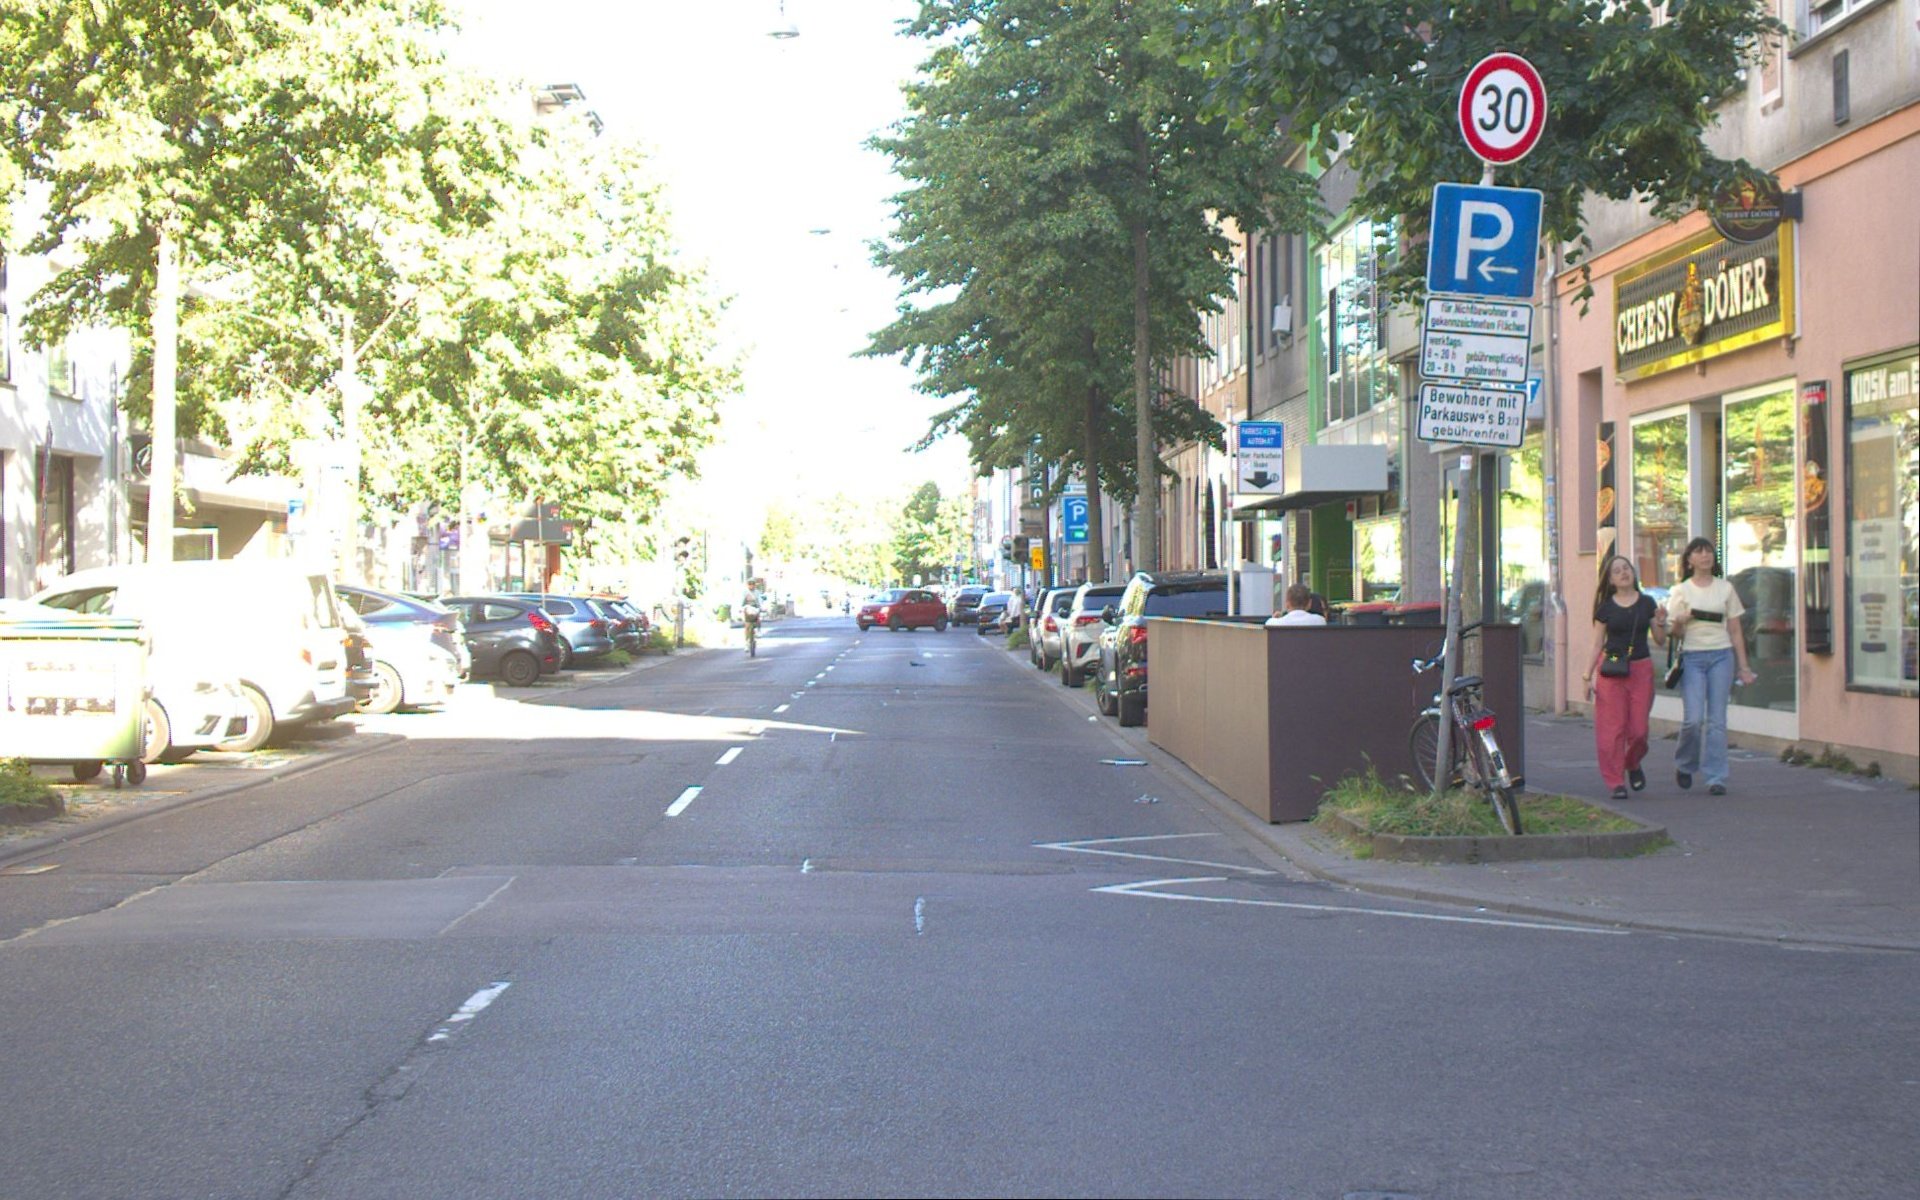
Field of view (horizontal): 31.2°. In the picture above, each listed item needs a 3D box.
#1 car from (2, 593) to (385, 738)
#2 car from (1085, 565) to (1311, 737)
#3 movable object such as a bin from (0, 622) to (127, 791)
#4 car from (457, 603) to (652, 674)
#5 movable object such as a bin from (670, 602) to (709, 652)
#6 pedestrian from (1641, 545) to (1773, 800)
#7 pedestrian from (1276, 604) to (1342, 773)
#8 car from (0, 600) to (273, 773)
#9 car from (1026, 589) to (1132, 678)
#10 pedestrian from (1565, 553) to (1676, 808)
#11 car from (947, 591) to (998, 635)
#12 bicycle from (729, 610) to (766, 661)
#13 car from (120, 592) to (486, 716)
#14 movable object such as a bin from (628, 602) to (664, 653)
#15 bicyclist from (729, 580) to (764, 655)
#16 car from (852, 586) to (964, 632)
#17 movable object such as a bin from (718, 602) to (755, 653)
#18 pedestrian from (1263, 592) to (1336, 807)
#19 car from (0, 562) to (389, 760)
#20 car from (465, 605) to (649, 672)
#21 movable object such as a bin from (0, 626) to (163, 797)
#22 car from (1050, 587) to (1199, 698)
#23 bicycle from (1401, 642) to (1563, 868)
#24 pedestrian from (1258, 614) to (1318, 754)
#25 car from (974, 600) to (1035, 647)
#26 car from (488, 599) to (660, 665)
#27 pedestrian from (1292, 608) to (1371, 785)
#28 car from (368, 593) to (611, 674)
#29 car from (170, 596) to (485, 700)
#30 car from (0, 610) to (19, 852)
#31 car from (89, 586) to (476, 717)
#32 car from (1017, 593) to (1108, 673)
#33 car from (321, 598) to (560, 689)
[{"bbox_3d":[-8.338,0.698,37.627,3.799,1.553,1.792,0,0,0],"label":"car"},{"bbox_3d":[2.577,0.533,38.292,1.993,1.684,4.517,-4,0,-1],"label":"car"},{"bbox_3d":[-7.436,0.847,27.783,1.192,1.341,0.932,0,0,-1],"label":"movable object such as a bin"},{"bbox_3d":[-8.641,0.808,73.450,3.919,1.480,1.771,0,0,1],"label":"car"},{"bbox_3d":[-7.905,0.786,100.530,1.042,1.466,1.143,-1,0,-2],"label":"movable object such as a bin"},{"bbox_3d":[4.954,0.471,22.832,0.641,1.639,0.748,-2,0,-2],"label":"pedestrian"},{"bbox_3d":[2.842,0.717,28.020,0.472,1.357,0.594,0,0,0],"label":"pedestrian"},{"bbox_3d":[-8.266,0.734,30.421,3.979,1.459,1.887,1,0,0],"label":"car"},{"bbox_3d":[2.191,0.605,64.199,1.613,1.523,4.235,-4,0,-2],"label":"car"},{"bbox_3d":[4.364,0.524,22.739,0.513,1.639,0.748,-2,0,-2],"label":"pedestrian"},{"bbox_3d":[0.482,0.511,139.453,1.973,1.719,4.824,1,0,0],"label":"car"},{"bbox_3d":[-4.923,0.814,79.694,0.725,1.165,2.197,0,0,0],"label":"bicycle"},{"bbox_3d":[-8.470,0.681,44.606,4.366,1.565,1.980,0,0,0],"label":"car"},{"bbox_3d":[-9.195,0.802,100.601,0.964,1.466,1.143,-1,0,-2],"label":"movable object such as a bin"},{"bbox_3d":[-4.921,0.400,79.438,0.725,1.694,1.282,0,0,0],"label":"bicyclist"},{"bbox_3d":[-1.873,0.318,124.987,3.748,1.530,1.663,-2,0,-35],"label":"car"},{"bbox_3d":[-6.544,0.791,100.730,1.042,1.466,1.452,-1,0,-2],"label":"movable object such as a bin"},{"bbox_3d":[2.427,0.704,24.601,0.472,1.524,0.462,0,0,0],"label":"pedestrian"},{"bbox_3d":[-7.740,0.563,33.215,4.105,1.830,2.038,1,0,0],"label":"car"},{"bbox_3d":[-8.885,0.843,76.019,3.841,1.424,1.789,0,0,1],"label":"car"},{"bbox_3d":[-6.923,0.856,26.795,1.237,1.298,0.870,0,0,-1],"label":"movable object such as a bin"},{"bbox_3d":[2.433,0.613,51.804,1.883,1.522,4.234,-3,0,-1],"label":"car"},{"bbox_3d":[2.903,0.835,19.279,0.507,1.159,2.145,-1,0,-2],"label":"bicycle"},{"bbox_3d":[3.147,0.802,32.990,0.473,1.326,0.483,0,0,19],"label":"pedestrian"},{"bbox_3d":[1.522,0.808,120.075,1.917,1.473,4.964,-4,0,0],"label":"car"},{"bbox_3d":[-8.803,0.721,78.551,3.748,1.463,1.740,0,0,-1],"label":"car"},{"bbox_3d":[2.920,0.751,27.062,0.552,1.374,0.594,0,0,0],"label":"pedestrian"},{"bbox_3d":[-9.122,0.649,66.879,4.492,1.454,1.790,1,0,-2],"label":"car"},{"bbox_3d":[-9.015,0.669,49.275,4.244,1.454,1.980,0,0,-4],"label":"car"},{"bbox_3d":[-7.644,0.774,20.222,3.777,1.459,1.710,1,0,-3],"label":"car"},{"bbox_3d":[-8.254,0.615,42.177,4.366,1.565,1.946,0,0,0],"label":"car"},{"bbox_3d":[2.070,0.661,70.077,1.613,1.523,3.061,-2,0,-2],"label":"car"},{"bbox_3d":[-8.424,0.691,55.869,3.779,1.454,1.781,0,0,-8],"label":"car"}]
